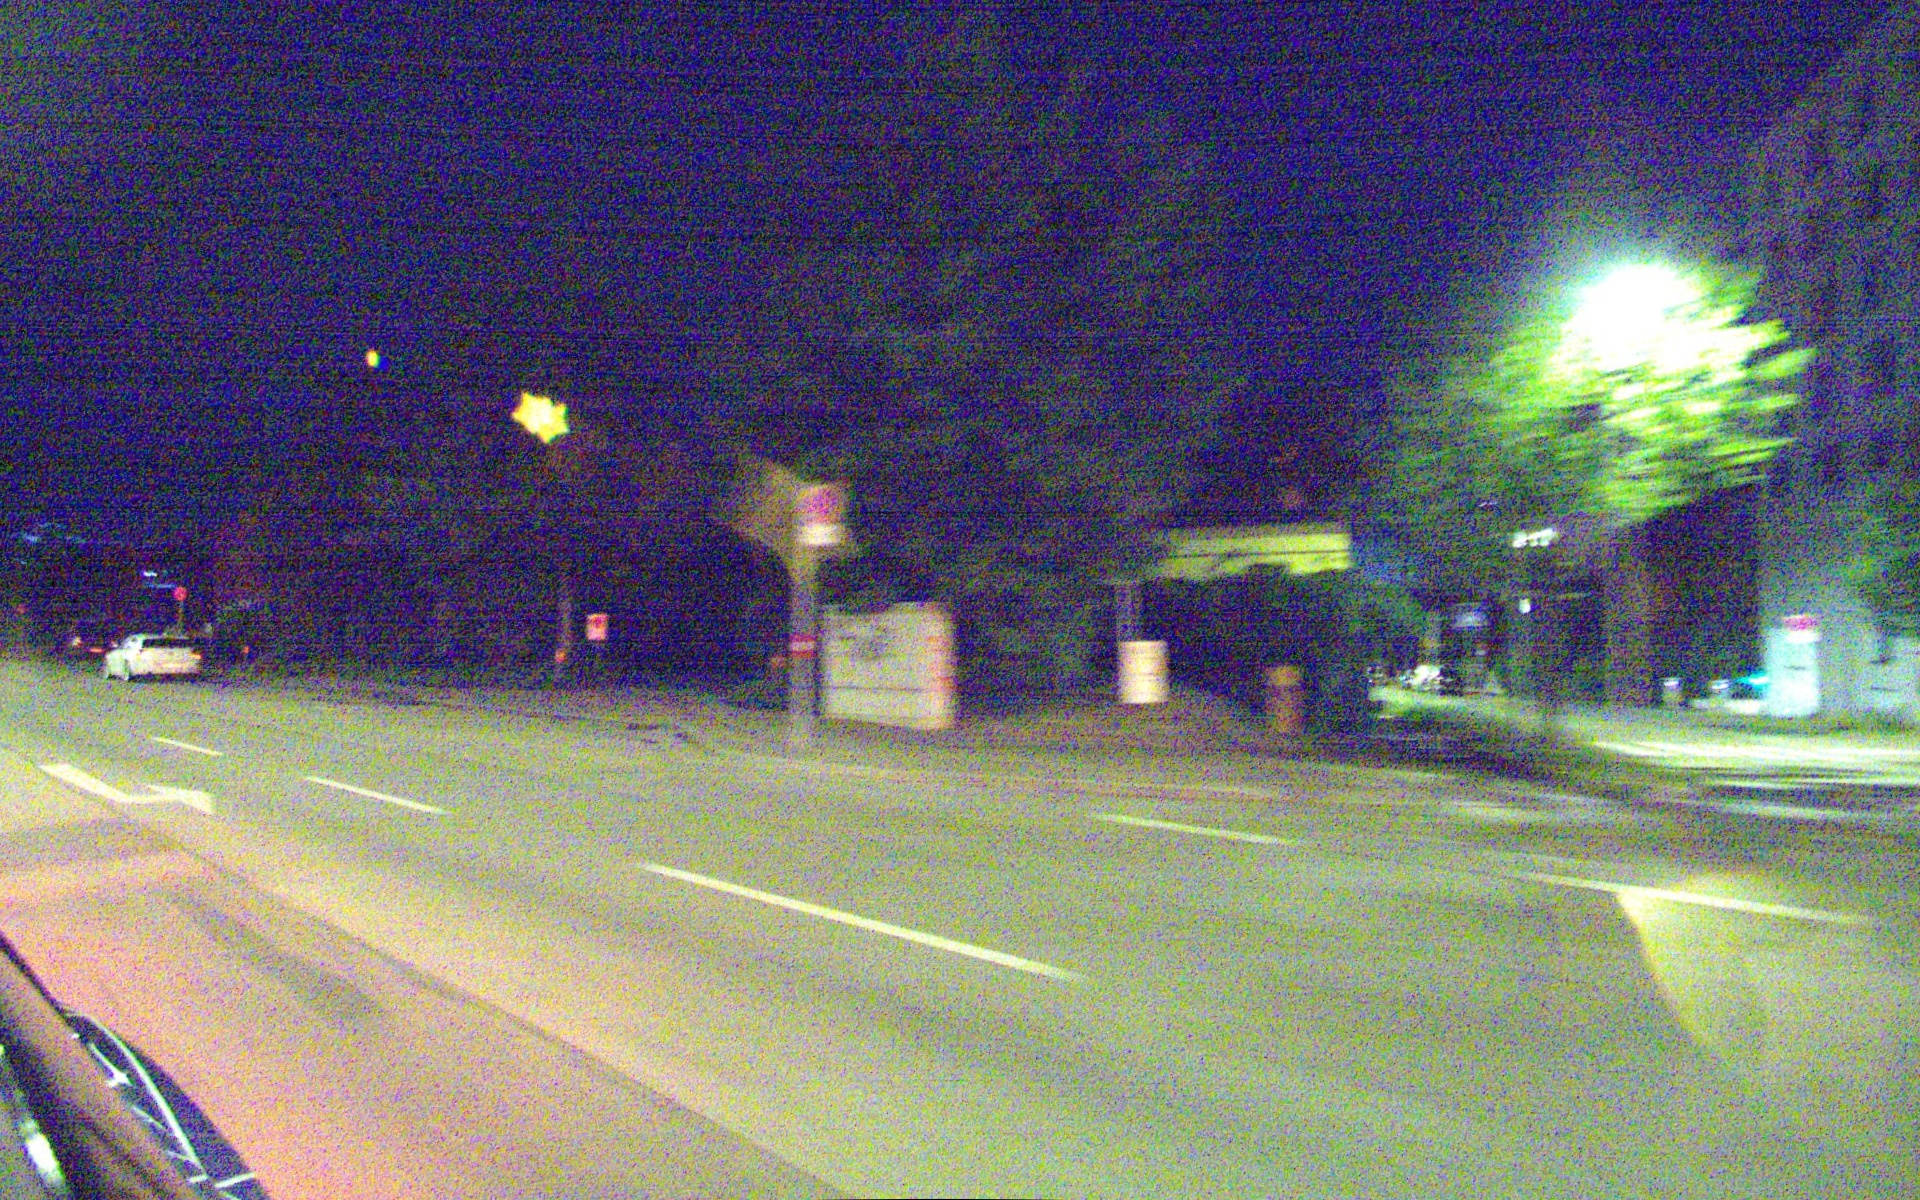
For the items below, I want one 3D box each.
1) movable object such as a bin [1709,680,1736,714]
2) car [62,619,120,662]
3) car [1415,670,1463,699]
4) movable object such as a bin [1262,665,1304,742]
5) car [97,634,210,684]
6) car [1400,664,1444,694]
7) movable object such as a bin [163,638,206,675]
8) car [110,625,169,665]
[{"bbox_3d":[30.031,3.820,39.864,0.561,1.317,0.620,1,-4,2],"label":"movable object such as a bin"},{"bbox_3d":[-50.396,2.365,58.631,4.968,2.339,1.971,-2,-5,44],"label":"car"},{"bbox_3d":[29.980,5.270,63.403,1.860,1.654,3.983,0,-2,13],"label":"car"},{"bbox_3d":[5.712,1.827,17.933,0.561,1.317,0.620,1,-4,2],"label":"movable object such as a bin"},{"bbox_3d":[-24.653,1.780,30.886,4.335,1.414,1.891,-2,-4,41],"label":"car"},{"bbox_3d":[31.413,5.352,68.895,1.980,1.850,3.982,1,-3,13],"label":"car"},{"bbox_3d":[-32.192,2.353,42.001,1.064,1.507,1.153,-2,-3,37],"label":"movable object such as a bin"},{"bbox_3d":[-49.432,2.703,60.948,4.625,2.339,2.182,-2,-4,44],"label":"car"}]
